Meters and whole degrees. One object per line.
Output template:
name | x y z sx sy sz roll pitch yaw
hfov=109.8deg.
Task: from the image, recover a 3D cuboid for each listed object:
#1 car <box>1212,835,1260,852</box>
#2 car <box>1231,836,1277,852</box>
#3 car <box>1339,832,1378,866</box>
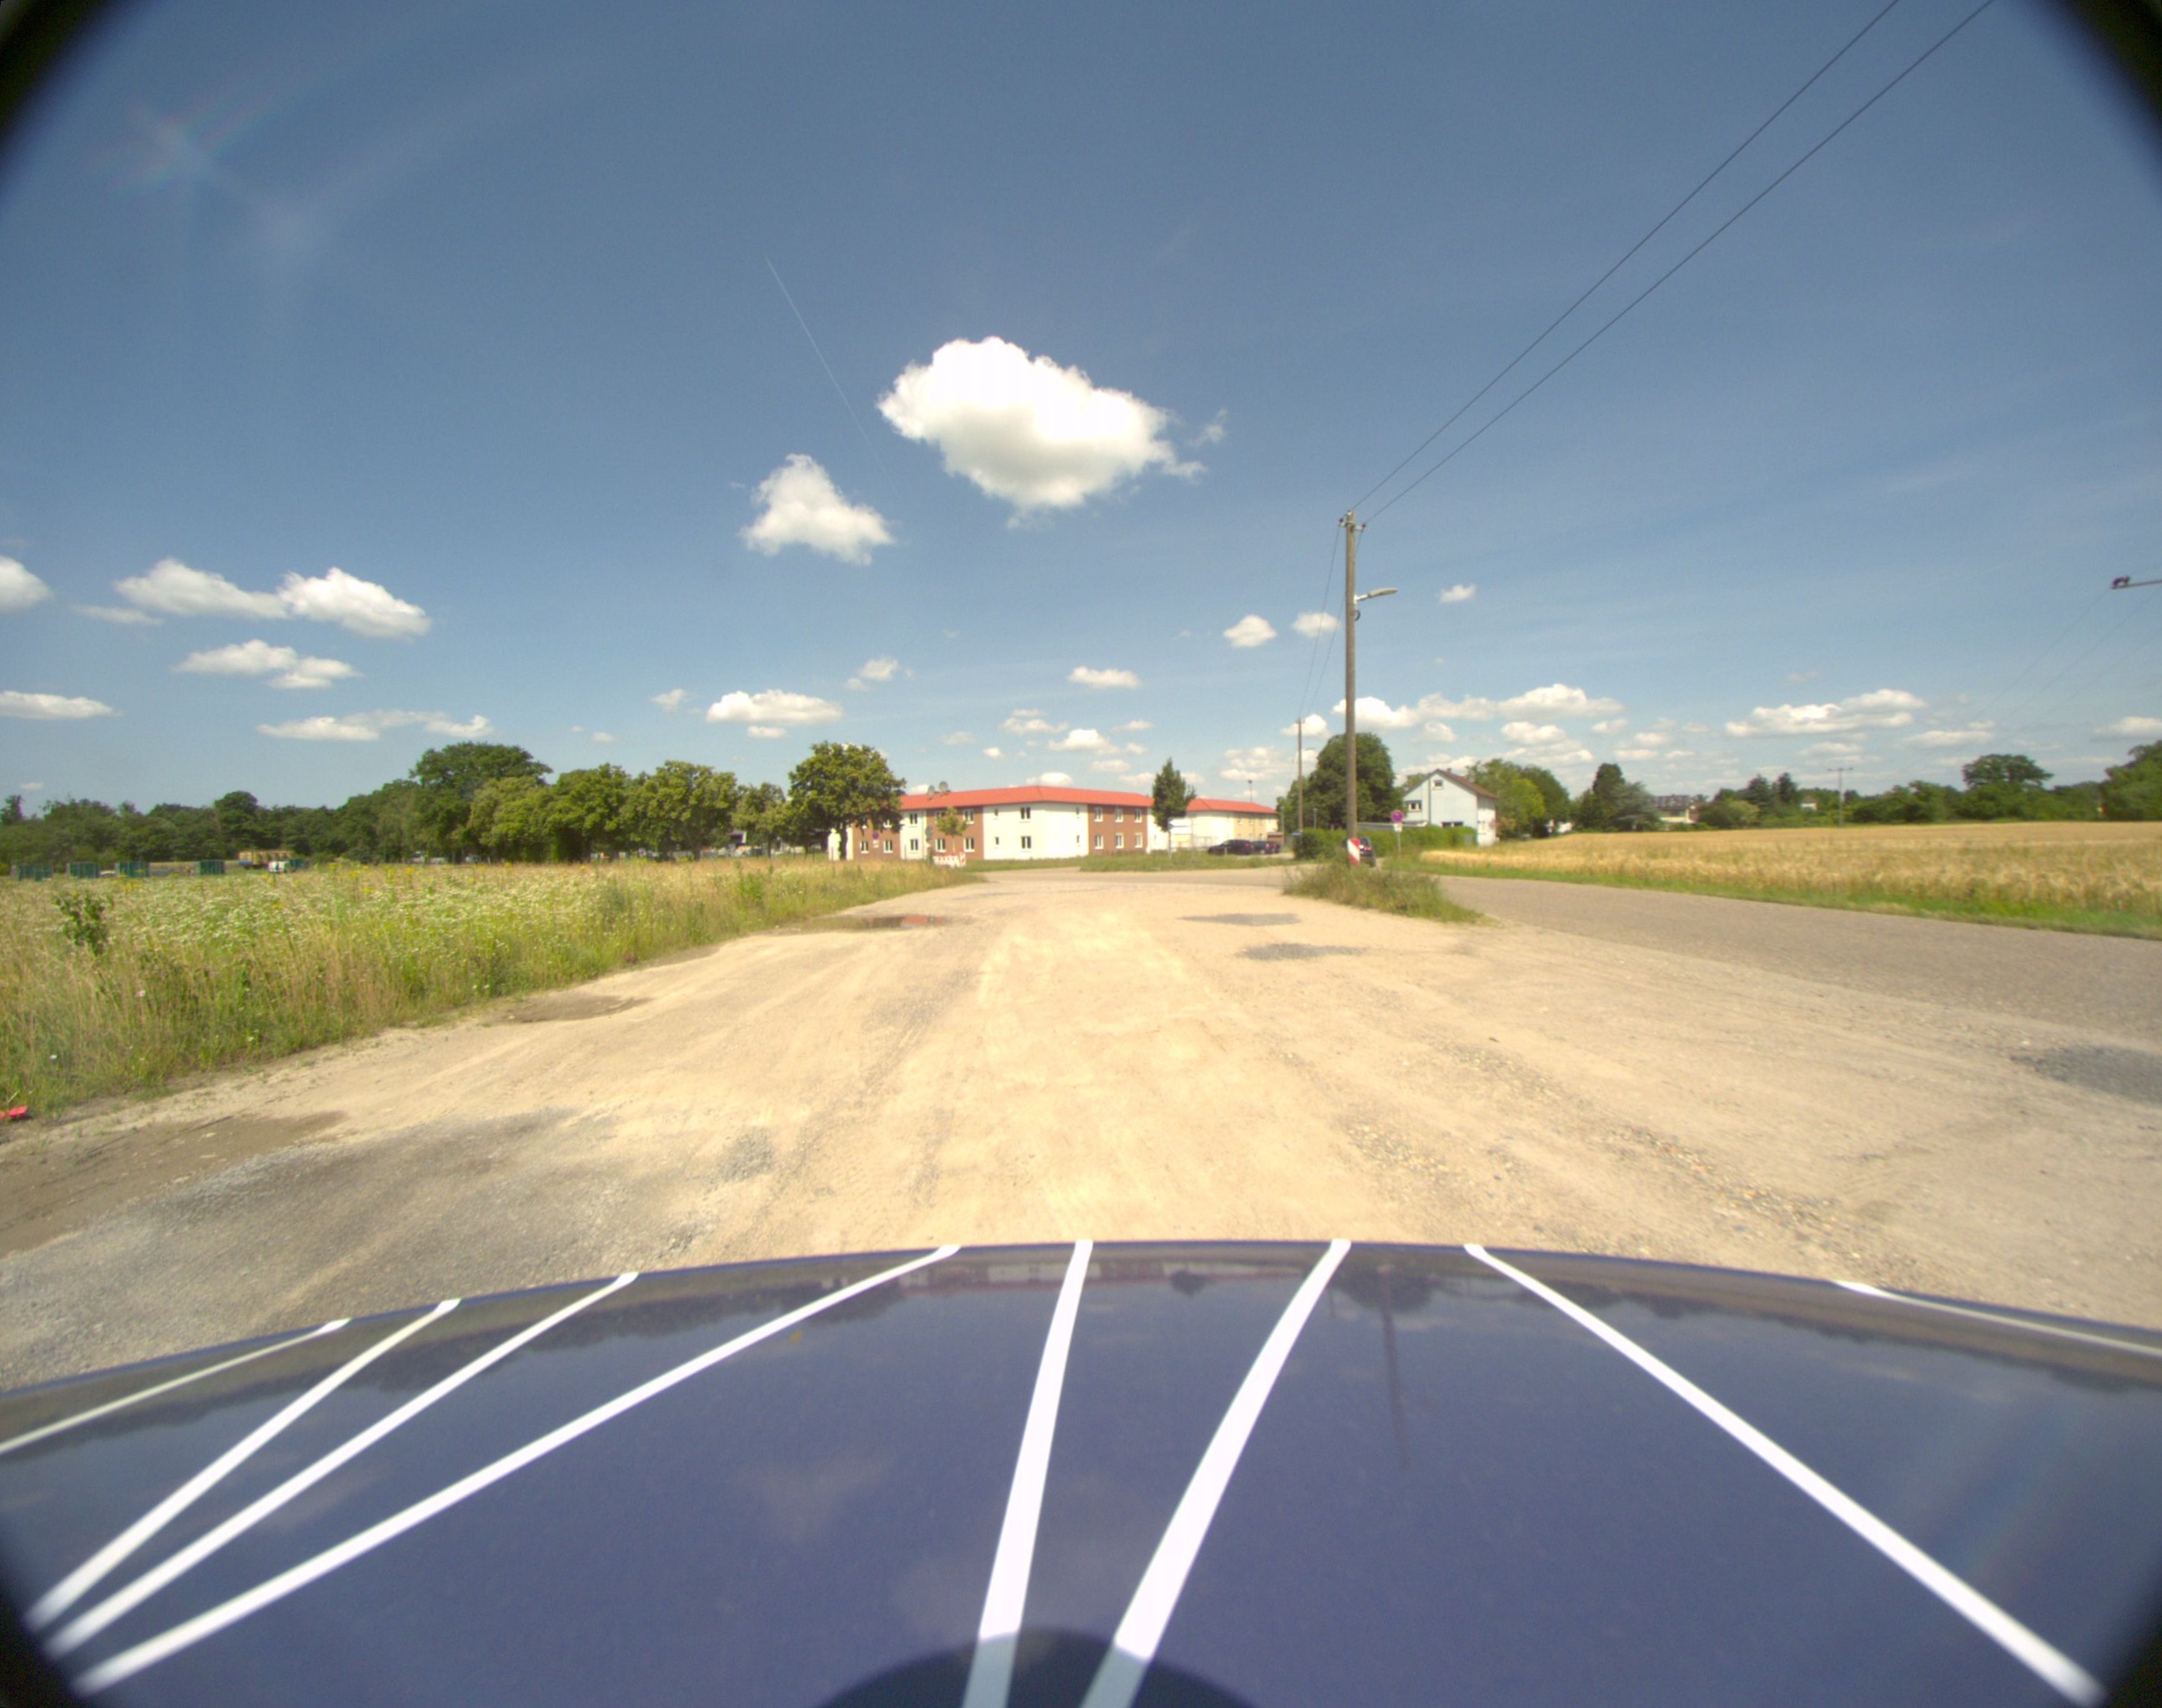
car | 15.263 -0.988 74.839 4.137 1.605 2.004 0 1 34
car | 17.757 -1.038 77.908 4.137 1.605 2.004 0 1 34
car | 14.952 -0.303 40.851 1.745 1.670 4.260 -2 2 22
